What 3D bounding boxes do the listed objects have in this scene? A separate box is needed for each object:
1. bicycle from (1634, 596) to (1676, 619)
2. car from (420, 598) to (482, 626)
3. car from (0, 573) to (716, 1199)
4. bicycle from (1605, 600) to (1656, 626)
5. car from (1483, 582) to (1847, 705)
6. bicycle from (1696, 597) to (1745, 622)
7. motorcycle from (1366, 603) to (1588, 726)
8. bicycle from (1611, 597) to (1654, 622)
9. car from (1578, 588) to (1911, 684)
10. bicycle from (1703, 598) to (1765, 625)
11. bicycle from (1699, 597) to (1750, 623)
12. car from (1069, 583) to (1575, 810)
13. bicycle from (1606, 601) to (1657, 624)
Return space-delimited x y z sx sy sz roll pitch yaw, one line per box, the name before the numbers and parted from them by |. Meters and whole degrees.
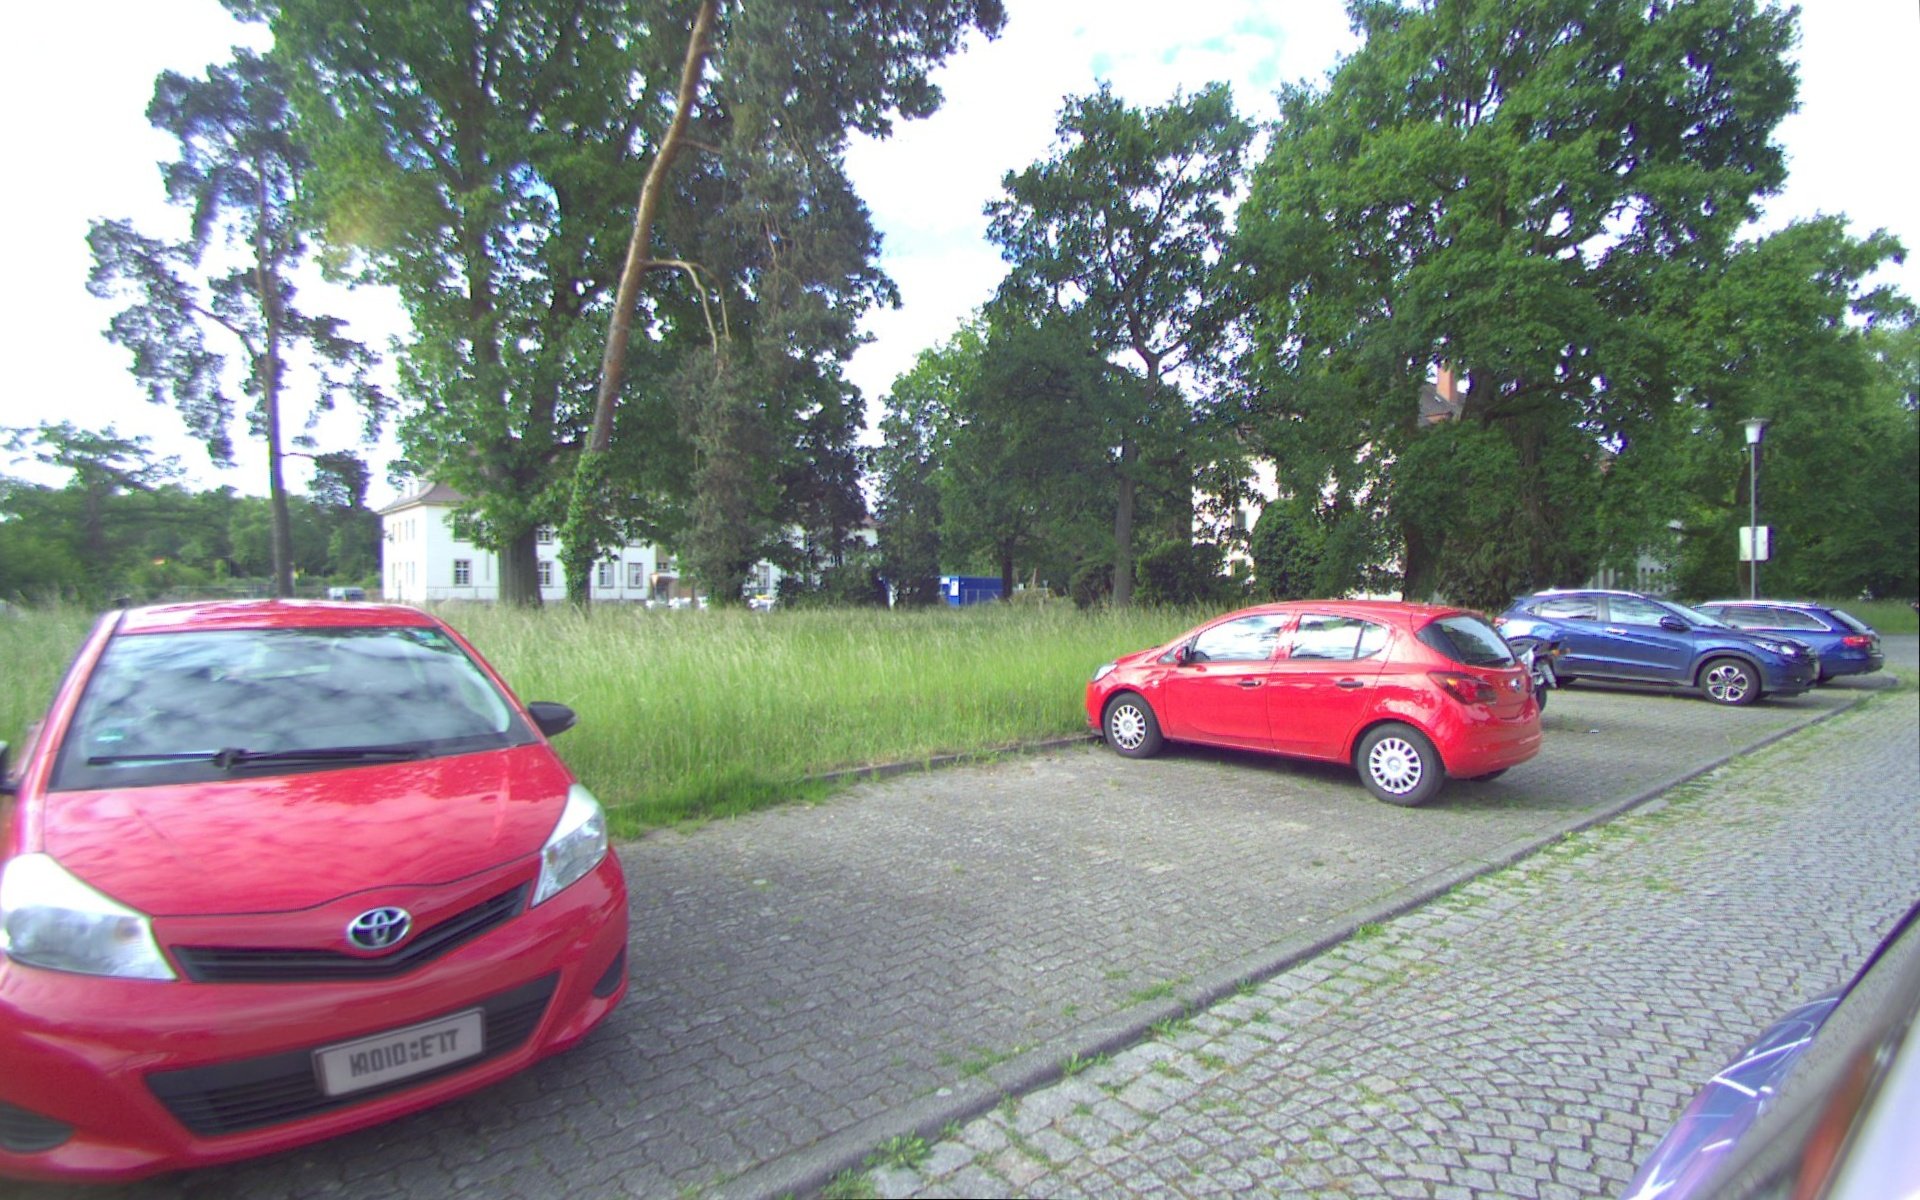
bicycle | 32.600 0.350 47.464 1.550 1.047 0.472 0 0 26
car | -40.716 0.980 80.897 5.810 2.039 2.450 -2 0 42
car | -2.688 0.708 4.046 1.708 1.538 3.993 0 0 -41
bicycle | 29.319 0.543 44.284 1.792 1.101 0.475 0 2 23
car | 10.634 0.544 15.533 1.862 1.593 4.270 0 1 -41
bicycle | 35.042 0.442 46.643 1.734 1.101 0.548 0 2 28
motorcycle | 6.020 0.695 11.919 2.265 1.291 0.596 1 1 44
bicycle | 30.585 0.438 46.038 1.545 1.102 0.559 0 0 19
car | 14.203 0.555 18.580 1.860 1.483 4.518 0 1 -37
bicycle | 32.495 0.481 42.494 1.998 1.101 0.474 0 2 28
bicycle | 34.694 0.451 45.951 1.791 1.101 0.548 0 2 28
car | 2.958 0.625 8.876 1.708 1.524 3.845 0 1 -42
bicycle | 29.675 0.557 44.736 1.835 1.002 0.453 0 0 23
